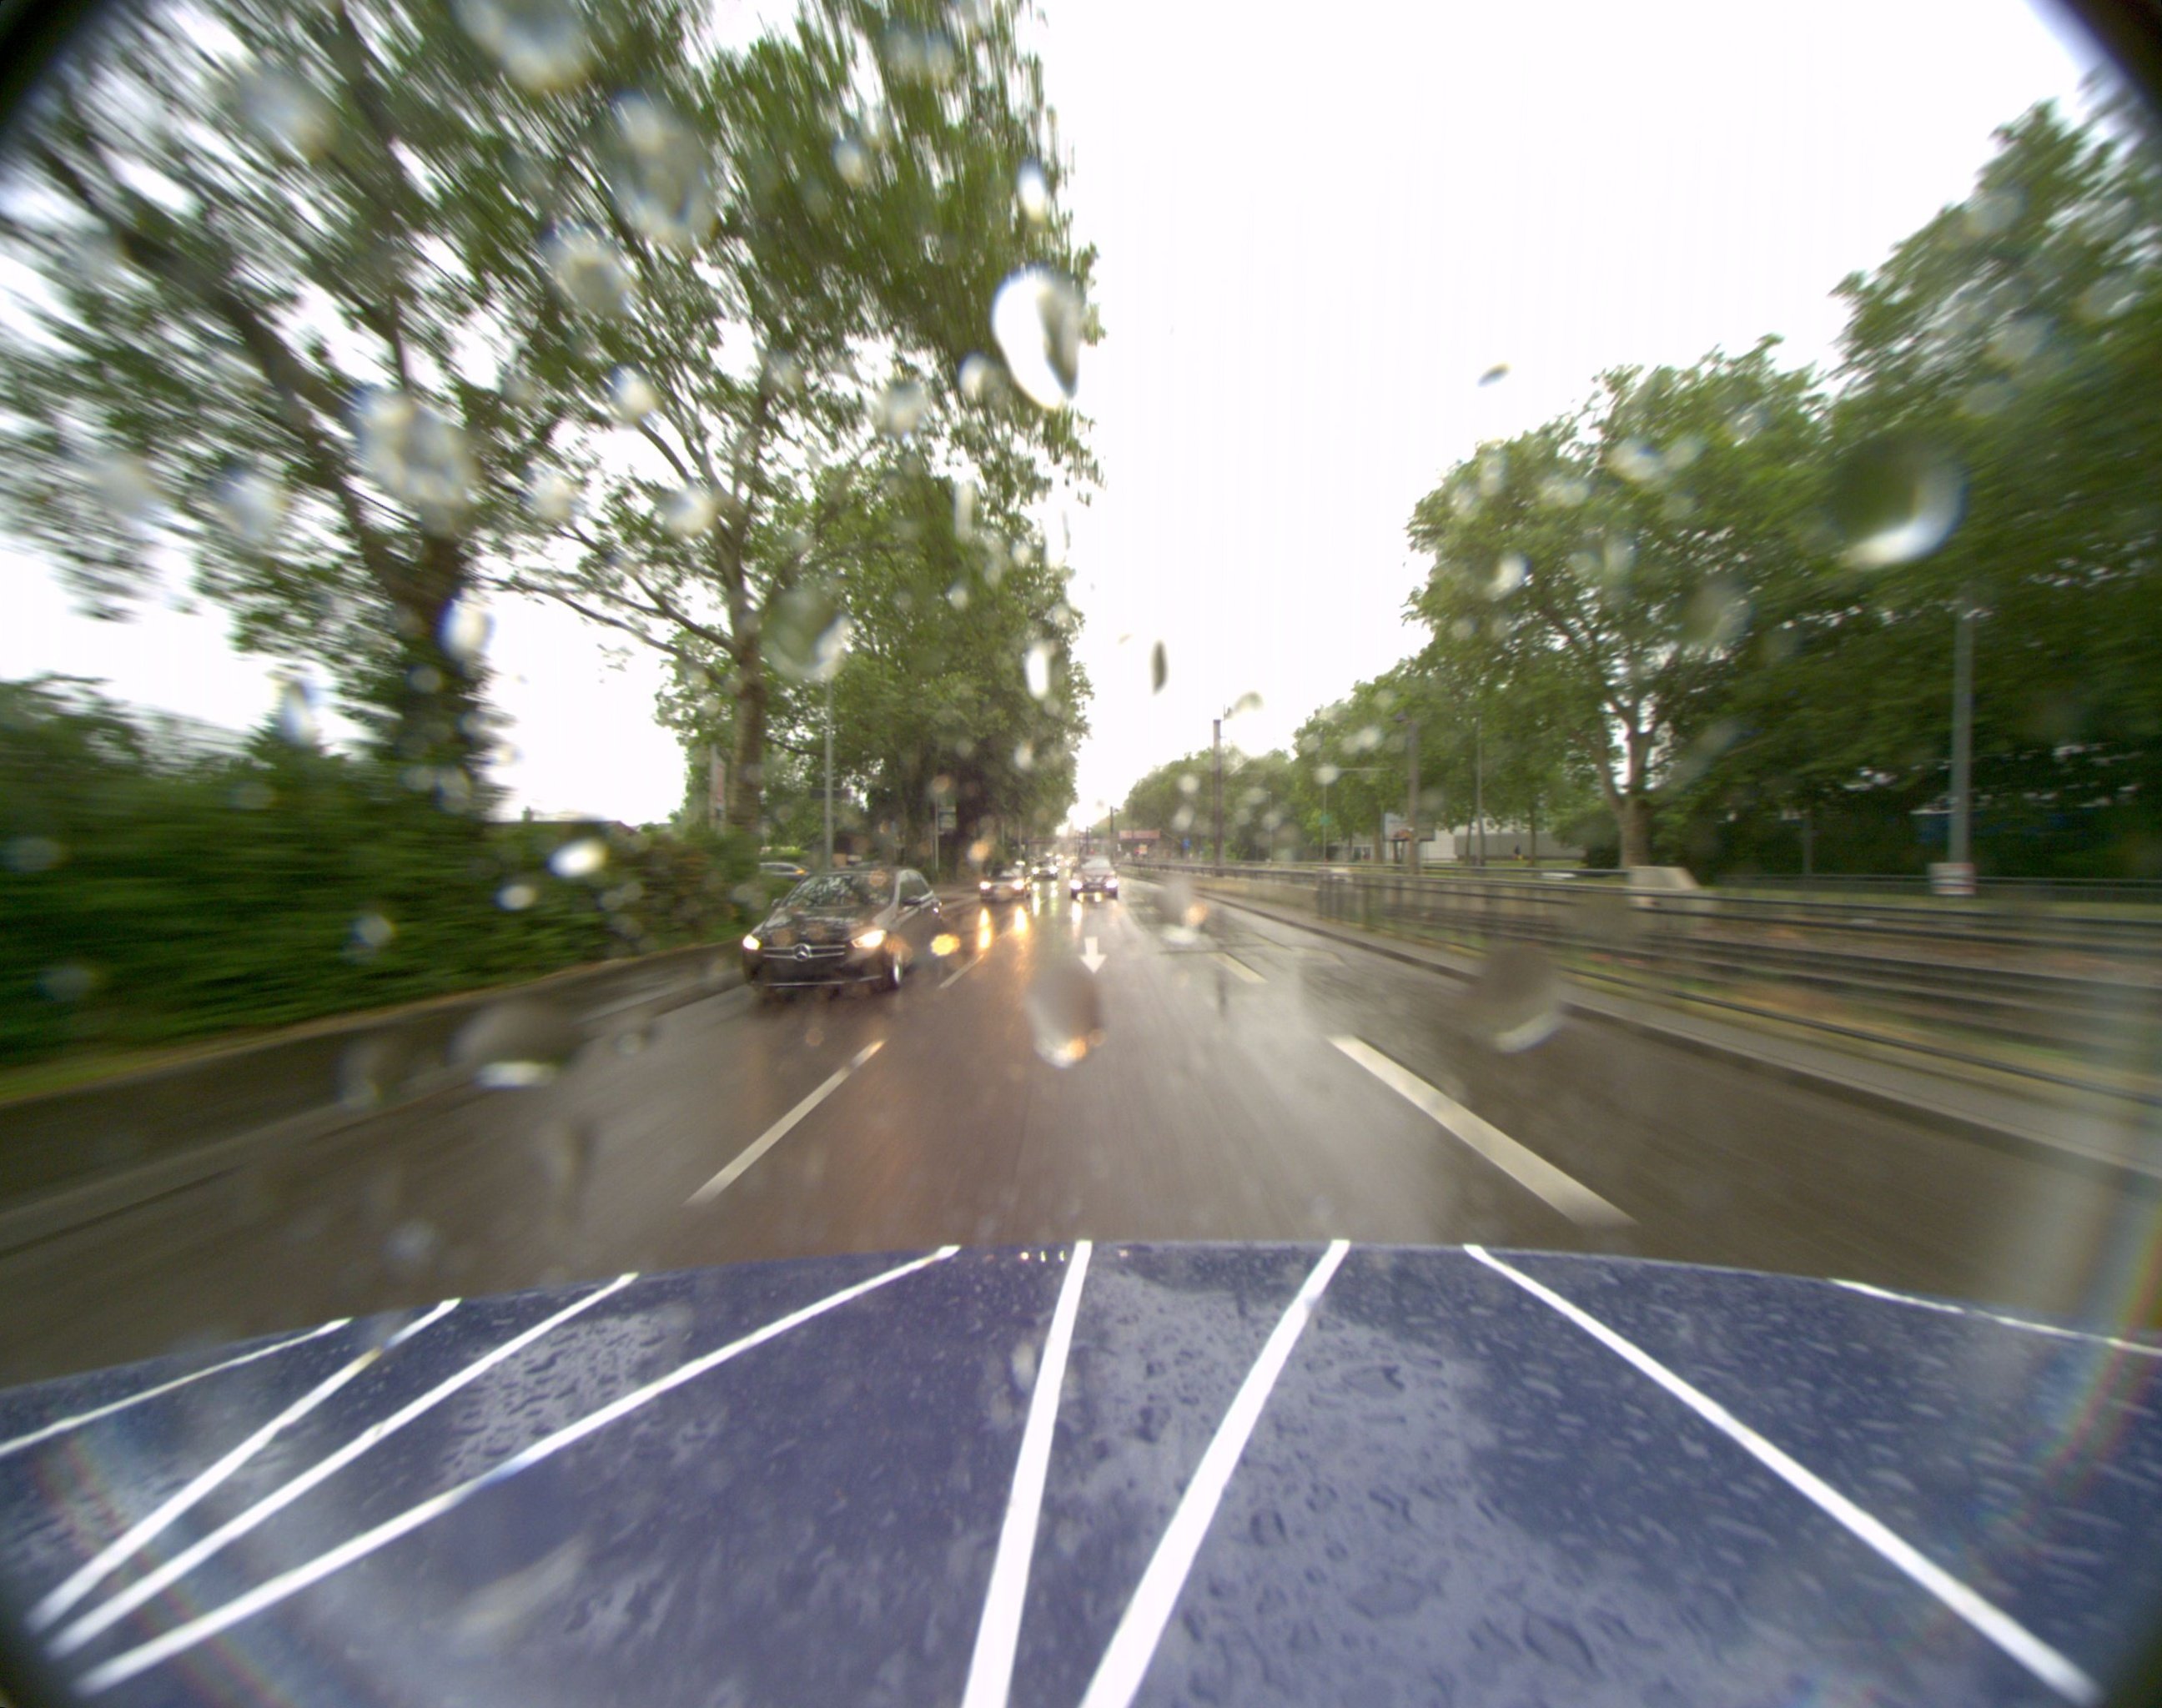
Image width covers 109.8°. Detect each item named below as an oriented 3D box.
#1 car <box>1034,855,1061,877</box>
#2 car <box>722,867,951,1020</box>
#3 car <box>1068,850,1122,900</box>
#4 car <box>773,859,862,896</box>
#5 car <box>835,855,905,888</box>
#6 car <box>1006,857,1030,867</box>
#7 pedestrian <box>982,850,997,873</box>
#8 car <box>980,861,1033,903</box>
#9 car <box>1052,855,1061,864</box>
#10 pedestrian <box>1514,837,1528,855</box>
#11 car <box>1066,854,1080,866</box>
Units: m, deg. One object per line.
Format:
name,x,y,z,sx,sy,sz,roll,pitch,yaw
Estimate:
car,-2.443,0.902,55.827,1.821,1.520,4.158,-1,0,-2
car,-3.078,1.026,10.626,1.821,1.521,4.420,-2,0,-2
car,0.541,0.810,30.370,1.975,1.794,4.158,-2,0,0
car,-11.591,1.028,33.569,3.391,1.488,1.658,-1,-1,-7
car,-11.121,0.932,40.289,3.392,1.599,1.657,-1,-1,-10
car,-9.383,1.239,113.379,1.611,1.423,3.546,-3,1,-43
pedestrian,-7.017,0.556,58.179,0.969,1.693,1.140,-3,2,-1
car,-2.833,1.042,29.719,1.641,1.377,3.781,-2,1,0
car,-4.947,1.131,152.893,1.870,1.689,4.157,-1,0,-3
pedestrian,48.815,-0.873,84.266,1.004,2.002,0.790,-2,1,-1
car,-1.143,0.911,109.748,1.870,1.689,4.424,-1,0,-3
